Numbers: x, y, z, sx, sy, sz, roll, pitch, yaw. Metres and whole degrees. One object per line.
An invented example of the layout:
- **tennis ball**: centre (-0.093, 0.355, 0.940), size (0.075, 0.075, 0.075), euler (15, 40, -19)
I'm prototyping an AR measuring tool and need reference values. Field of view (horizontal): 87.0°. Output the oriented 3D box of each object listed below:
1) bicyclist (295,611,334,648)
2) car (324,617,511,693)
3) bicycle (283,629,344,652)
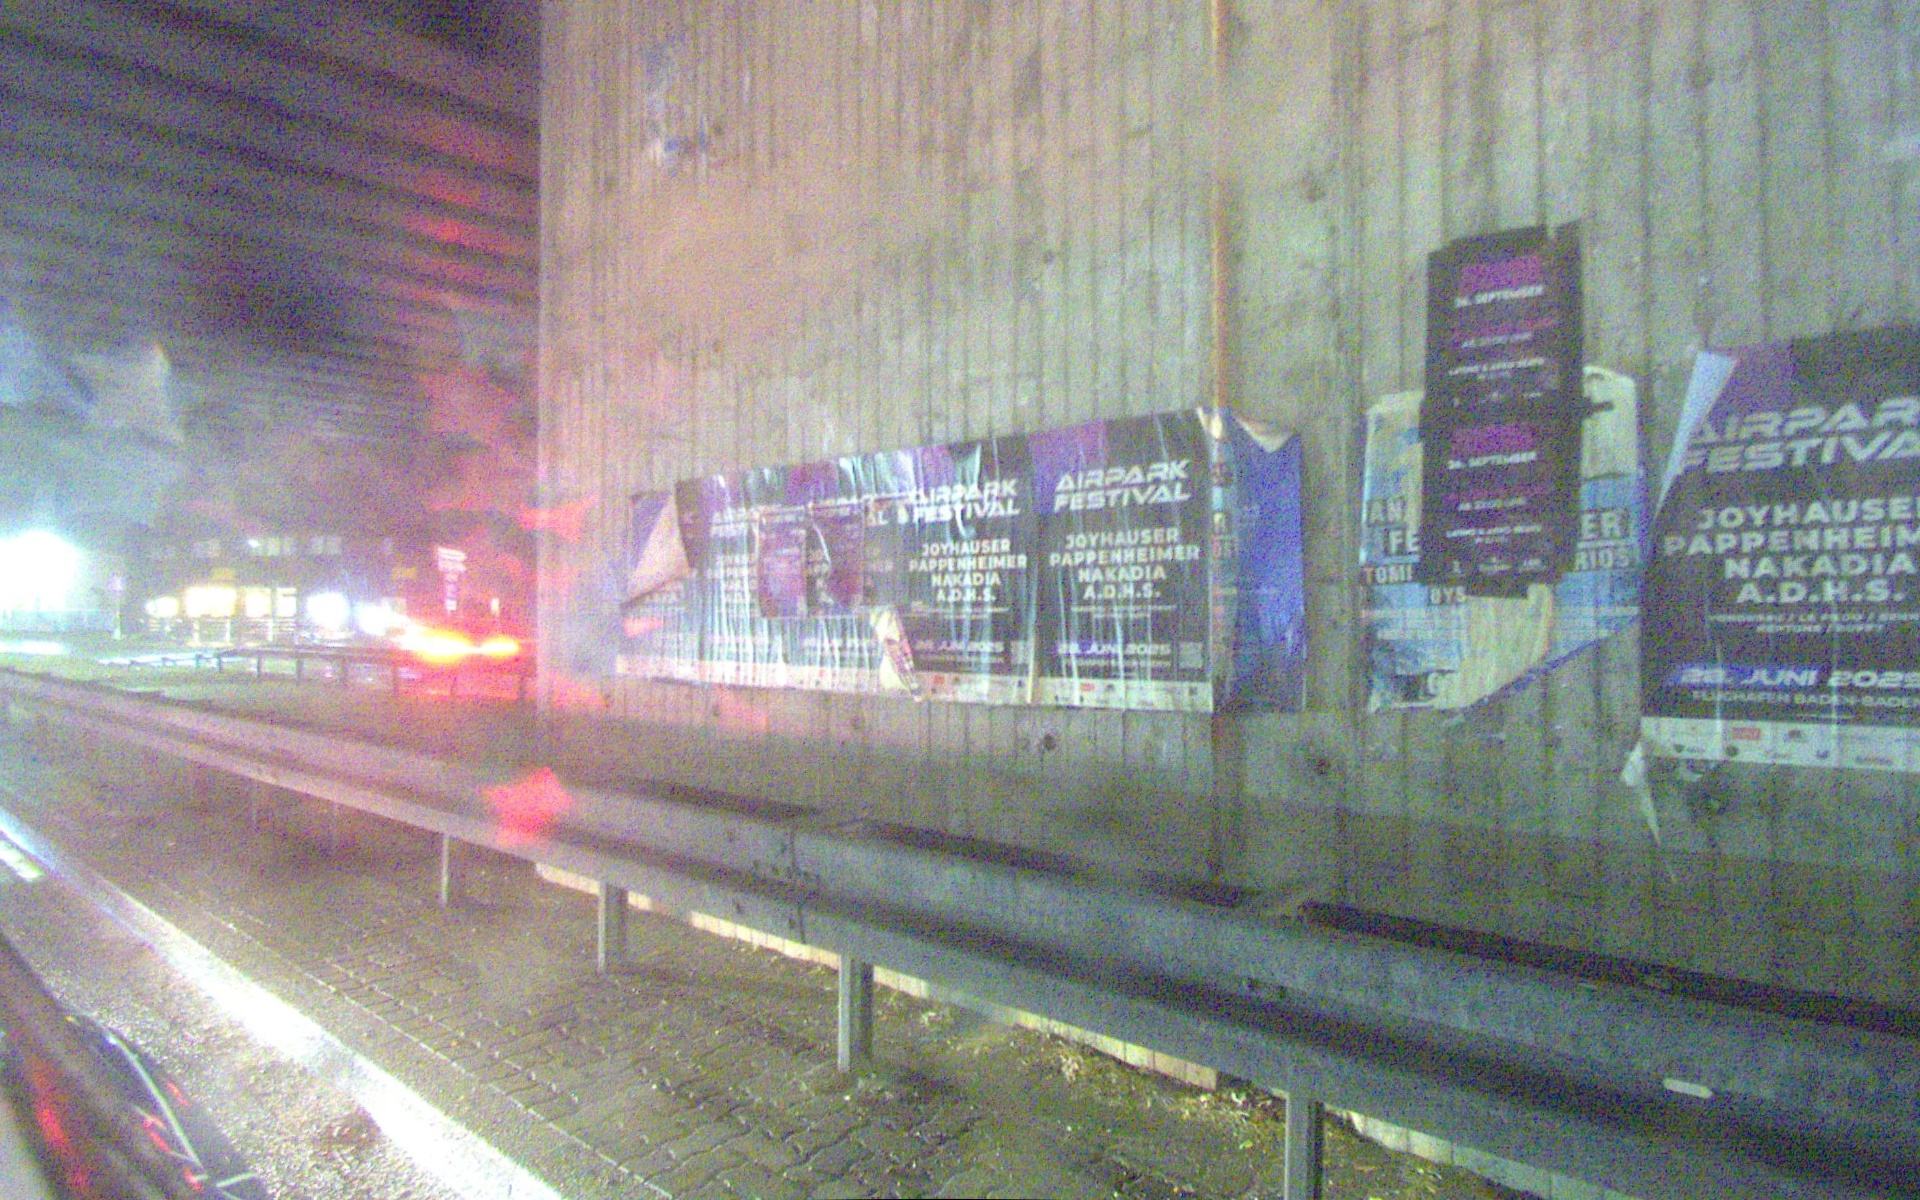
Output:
- **bicyclist**: centre (-25.967, 1.187, 40.707), size (1.174, 1.446, 0.628), euler (0, -2, 8)
- **car**: centre (-11.904, 1.123, 22.117), size (4.415, 1.475, 1.809), euler (0, -1, 35)
- **bicycle**: centre (-25.977, 1.622, 40.694), size (2.188, 0.912, 0.627), euler (0, -2, 8)
